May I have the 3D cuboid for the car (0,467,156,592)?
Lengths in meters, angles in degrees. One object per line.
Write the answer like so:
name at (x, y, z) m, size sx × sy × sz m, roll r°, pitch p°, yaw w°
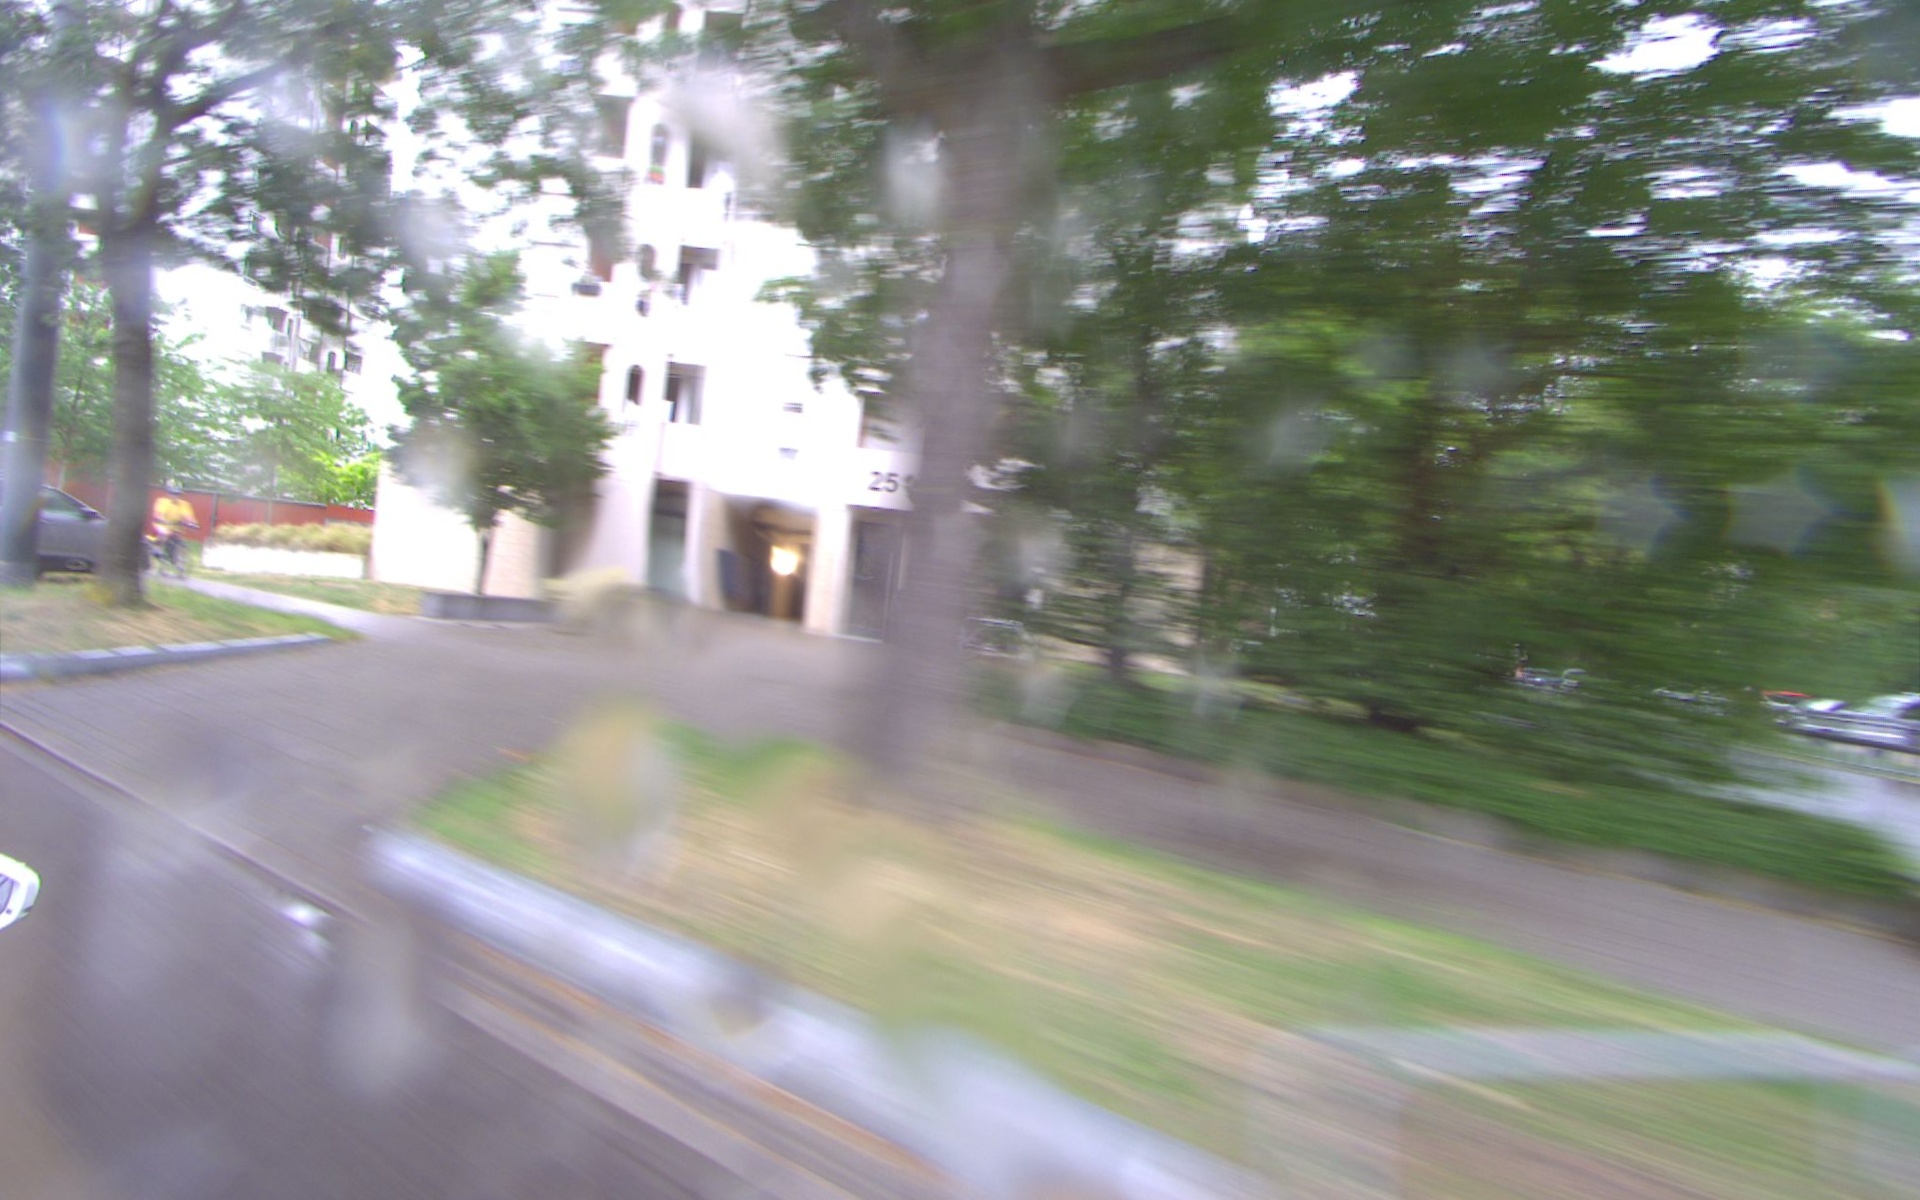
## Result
car at (-14.615, -1.111, 14.886) m, size 1.962 × 1.742 × 4.143 m, roll 6°, pitch 3°, yaw 2°

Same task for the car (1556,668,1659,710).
car at (33.496, 4.571, 52.145) m, size 3.924 × 1.587 × 1.981 m, roll 7°, pitch -2°, yaw 12°

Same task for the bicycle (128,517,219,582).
bicycle at (-15.369, -0.995, 19.645) m, size 2.017 × 1.070 × 0.735 m, roll 7°, pitch 1°, yaw 33°

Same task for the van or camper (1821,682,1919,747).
van or camper at (31.994, 3.966, 33.687) m, size 4.334 × 1.793 × 1.908 m, roll 6°, pitch 0°, yaw 5°

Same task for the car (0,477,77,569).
car at (-17.686, -1.409, 17.245) m, size 1.701 × 1.588 × 3.880 m, roll 6°, pitch 2°, yaw -3°

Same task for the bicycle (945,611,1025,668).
bicycle at (0.475, 0.763, 19.585) m, size 1.439 × 0.937 × 0.408 m, roll 6°, pitch 1°, yaw -4°

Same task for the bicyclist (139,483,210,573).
bicyclist at (-15.340, -1.404, 19.645) m, size 0.929 × 1.614 × 0.735 m, roll 7°, pitch 2°, yaw 33°

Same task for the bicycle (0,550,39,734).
bicycle at (-7.086, 0.145, 6.612) m, size 2.475 × 1.111 × 0.810 m, roll 7°, pitch 1°, yaw 31°

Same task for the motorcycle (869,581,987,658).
motorcycle at (-0.668, 0.393, 20.707) m, size 2.261 × 1.305 × 0.884 m, roll 6°, pitch 1°, yaw -4°

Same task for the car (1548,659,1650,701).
car at (35.008, 4.378, 55.224) m, size 4.170 × 1.699 × 1.885 m, roll 7°, pitch 0°, yaw 6°
